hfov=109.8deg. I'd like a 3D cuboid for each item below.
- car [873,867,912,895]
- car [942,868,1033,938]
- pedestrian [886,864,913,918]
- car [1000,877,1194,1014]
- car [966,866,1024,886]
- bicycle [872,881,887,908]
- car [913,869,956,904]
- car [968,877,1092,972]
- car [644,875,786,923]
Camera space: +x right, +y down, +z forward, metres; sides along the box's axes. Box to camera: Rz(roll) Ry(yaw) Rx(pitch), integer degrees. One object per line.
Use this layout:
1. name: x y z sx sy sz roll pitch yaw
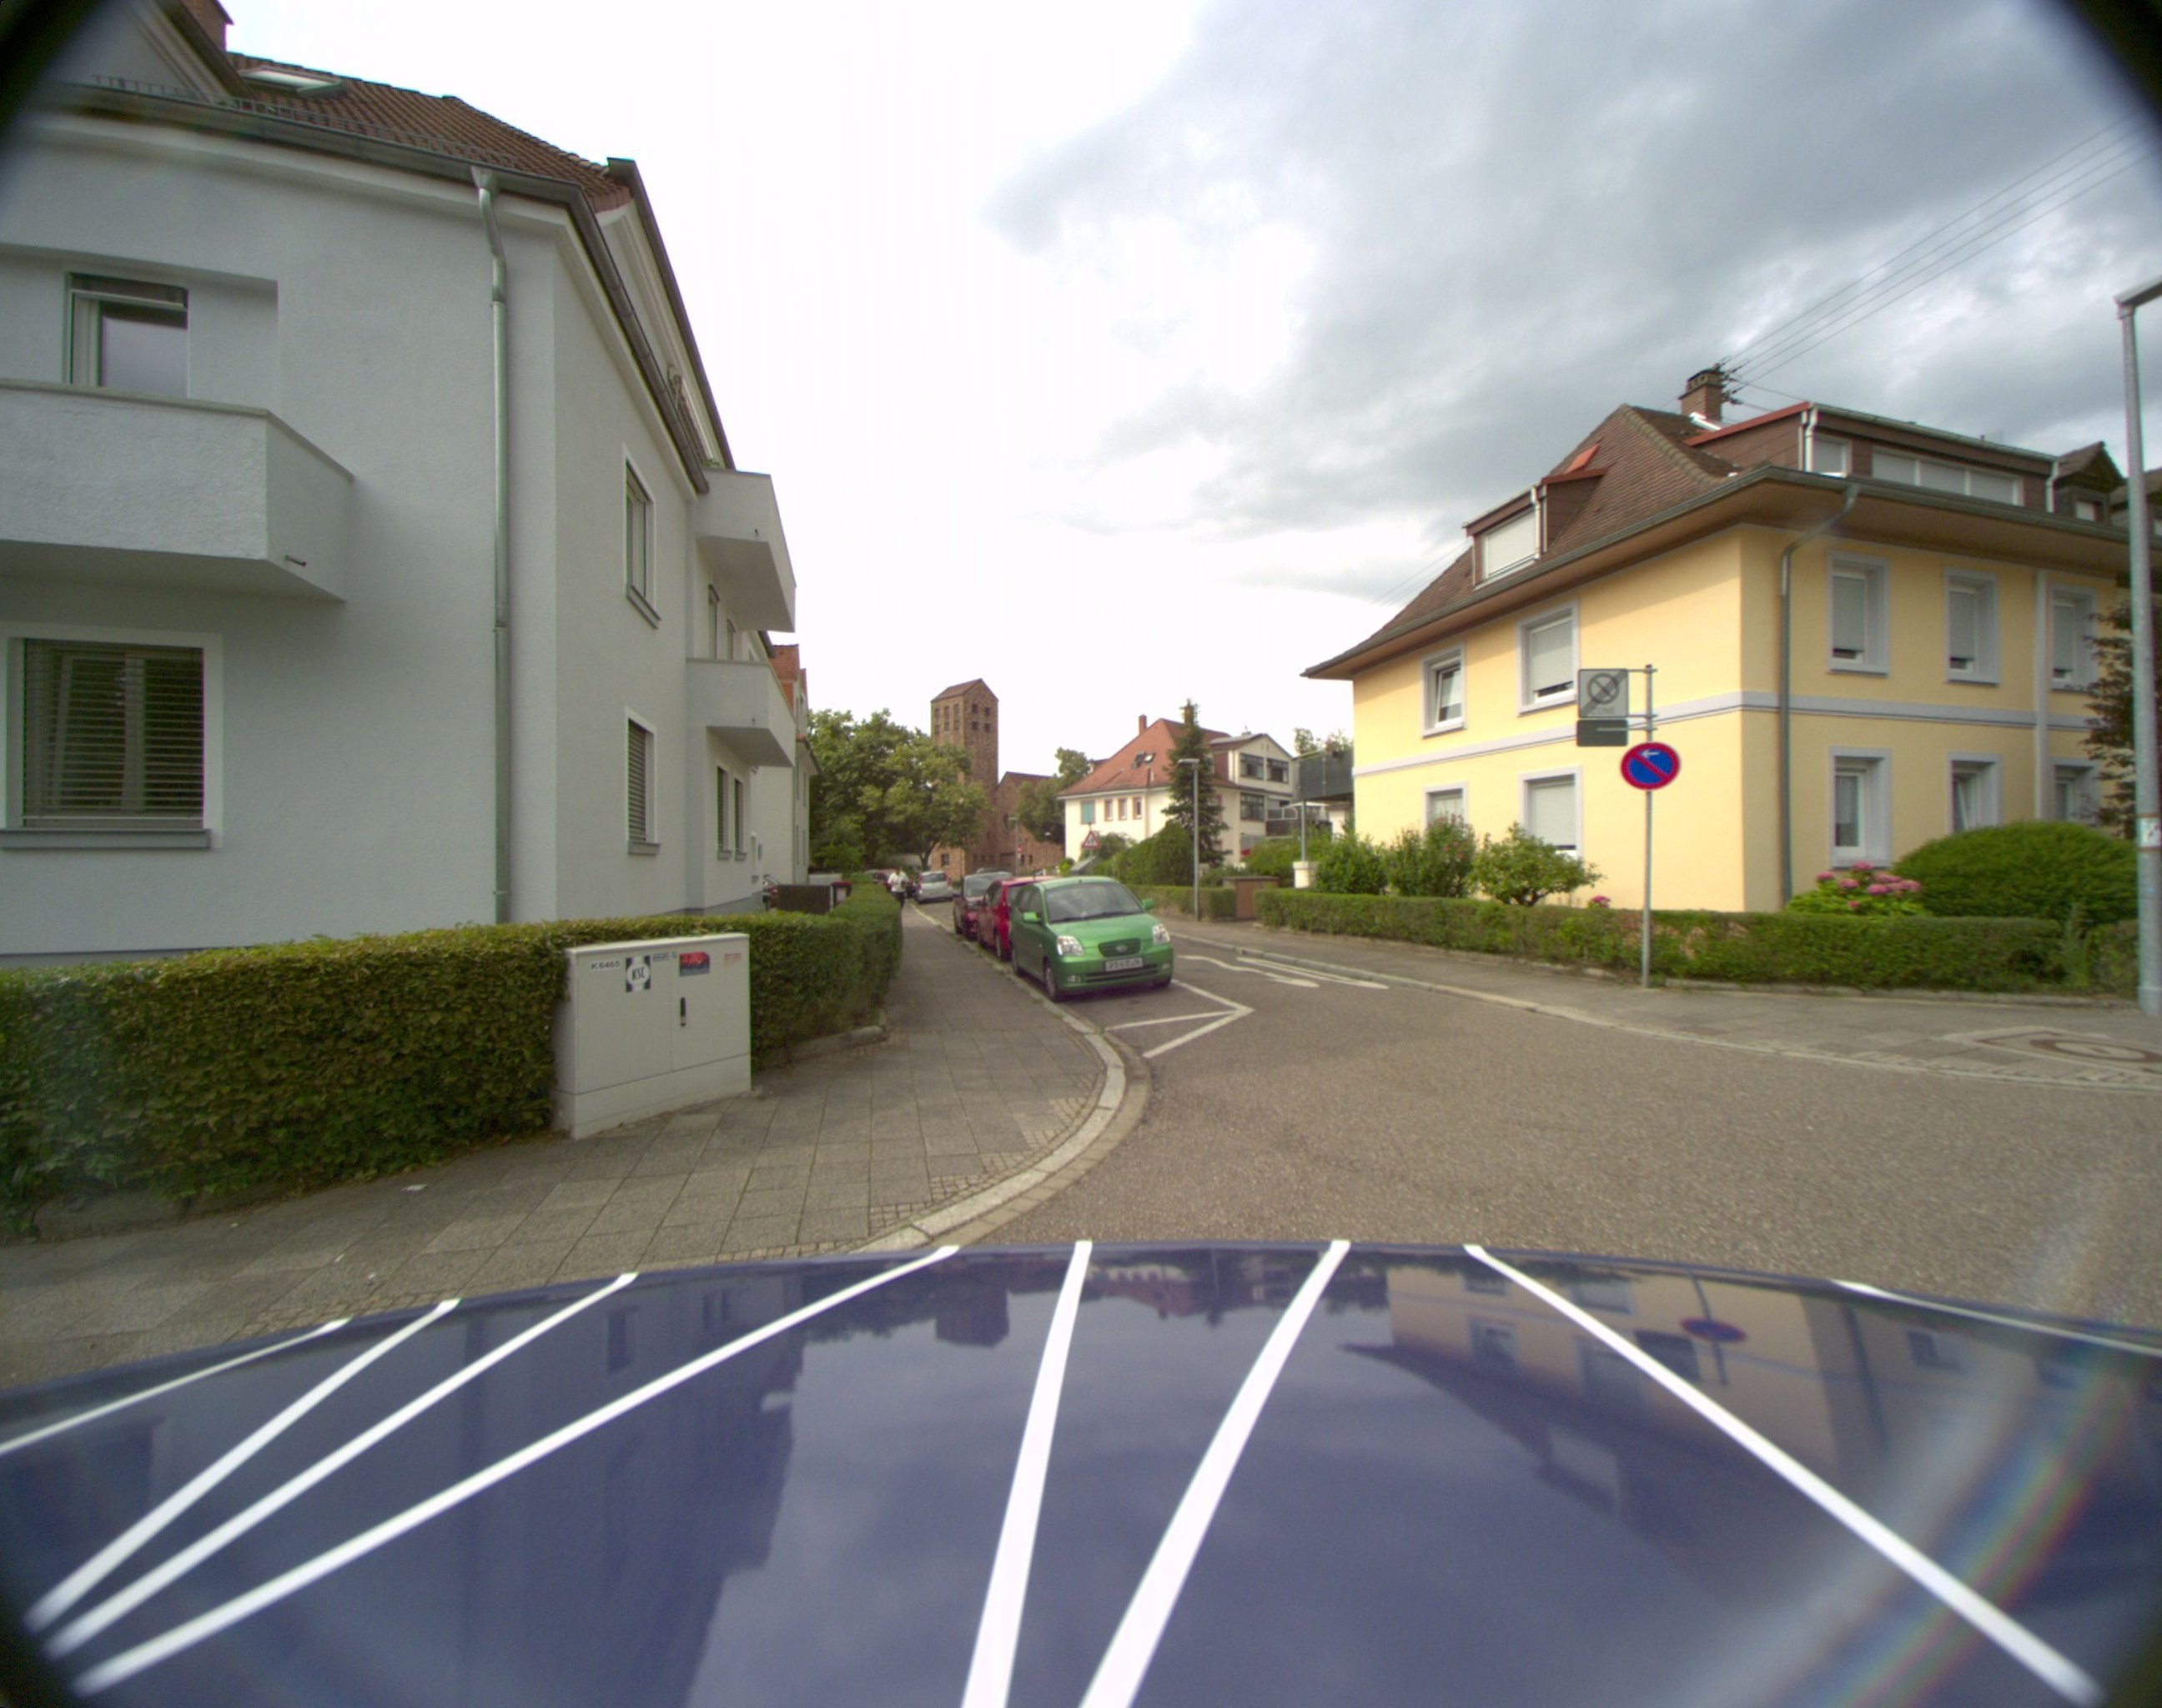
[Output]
1. car: -11.365 1.594 45.702 1.652 1.487 3.475 -4 0 -24
2. car: -2.454 1.154 19.220 1.652 1.487 3.477 -4 0 -16
3. pedestrian: -6.474 1.284 27.089 0.884 1.867 1.077 -1 0 -15
4. car: 0.041 1.108 10.639 1.652 1.413 3.477 -4 0 -16
5. car: -6.720 1.682 59.328 4.230 1.456 1.681 0 1 -16
6. bicycle: -8.764 1.733 33.026 0.423 1.097 2.112 0 0 -20
7. car: -7.187 1.525 37.013 1.652 1.487 3.477 -4 0 -16
8. car: -1.129 1.274 15.091 1.652 1.487 3.477 -4 0 -16
9. car: -12.209 1.469 25.632 4.002 1.455 1.998 0 -1 -15
